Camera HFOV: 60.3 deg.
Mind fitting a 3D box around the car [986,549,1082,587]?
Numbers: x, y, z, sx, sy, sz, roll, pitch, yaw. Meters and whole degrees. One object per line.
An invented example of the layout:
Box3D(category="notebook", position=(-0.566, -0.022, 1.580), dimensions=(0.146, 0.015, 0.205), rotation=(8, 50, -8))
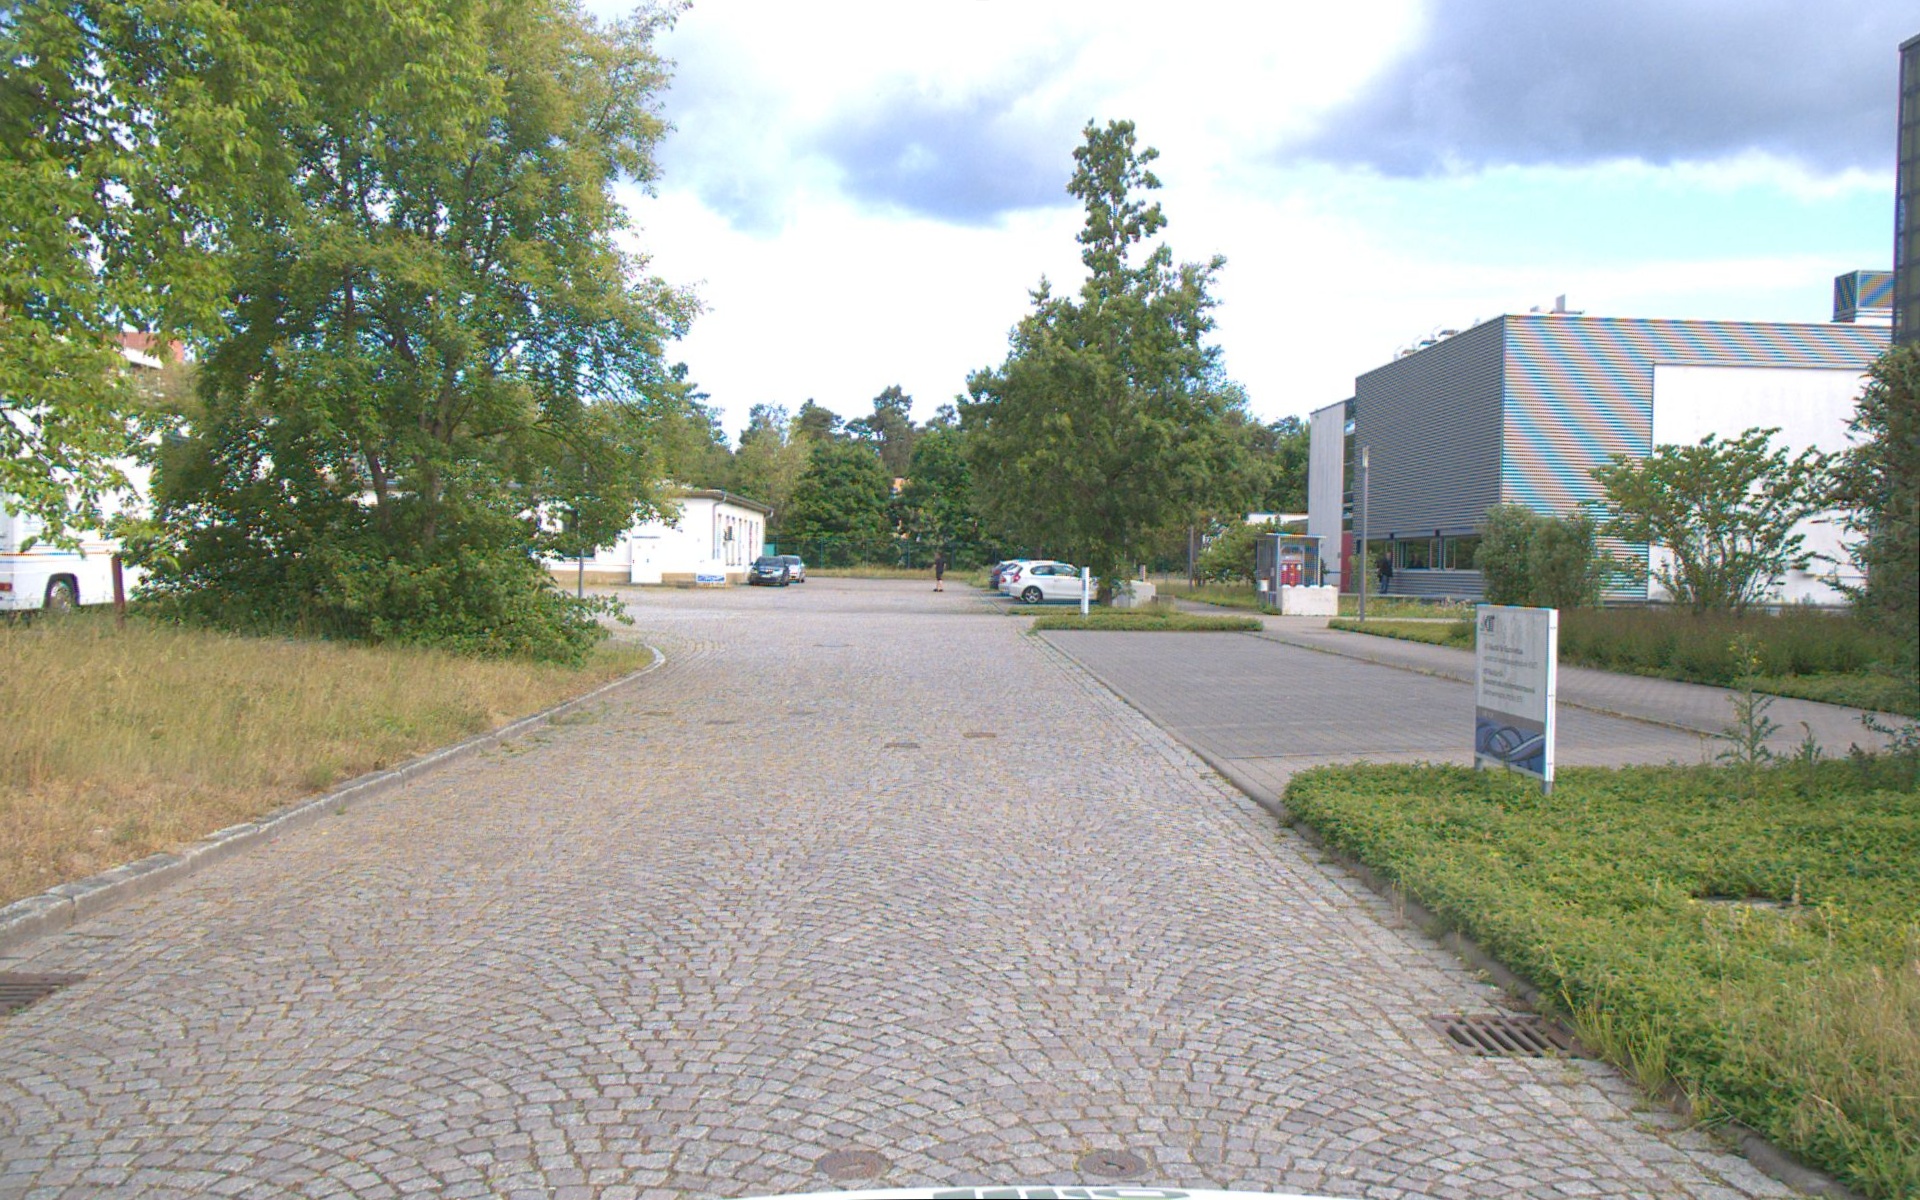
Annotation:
Box3D(category="car", position=(3.192, -1.396, 71.736), dimensions=(3.909, 1.560, 1.998), rotation=(1, 1, -5))

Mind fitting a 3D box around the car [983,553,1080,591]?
Box3D(category="car", position=(2.946, -1.164, 68.517), dimensions=(3.906, 1.480, 1.770), rotation=(1, 1, -1))

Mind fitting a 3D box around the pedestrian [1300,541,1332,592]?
Box3D(category="pedestrian", position=(14.499, -1.364, 67.342), dimensions=(0.903, 2.048, 1.145), rotation=(1, 1, -7))

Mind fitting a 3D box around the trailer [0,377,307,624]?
Box3D(category="trailer", position=(-15.603, -1.674, 30.602), dimensions=(2.602, 3.770, 10.724), rotation=(1, 1, 1))

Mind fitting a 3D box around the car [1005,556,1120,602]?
Box3D(category="car", position=(3.588, -0.749, 58.424), dimensions=(3.906, 1.481, 2.000), rotation=(1, 1, -1))

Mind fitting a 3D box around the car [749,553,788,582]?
Box3D(category="car", position=(-9.463, -1.637, 82.033), dimensions=(1.714, 1.387, 3.998), rotation=(1, 1, -4))

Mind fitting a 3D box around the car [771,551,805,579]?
Box3D(category="car", position=(-9.586, -1.971, 92.259), dimensions=(1.714, 1.479, 3.998), rotation=(1, 1, -4))

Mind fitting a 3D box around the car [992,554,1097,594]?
Box3D(category="car", position=(3.236, -1.018, 63.622), dimensions=(3.906, 1.480, 1.770), rotation=(1, 1, -1))

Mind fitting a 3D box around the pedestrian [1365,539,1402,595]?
Box3D(category="pedestrian", position=(15.116, -1.184, 59.081), dimensions=(0.908, 1.970, 0.846), rotation=(0, 1, -32))

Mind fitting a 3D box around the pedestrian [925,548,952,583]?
Box3D(category="pedestrian", position=(-0.996, -1.624, 77.298), dimensions=(0.928, 1.595, 0.964), rotation=(0, 1, -24))

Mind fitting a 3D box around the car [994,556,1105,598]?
Box3D(category="car", position=(3.250, -0.849, 60.584), dimensions=(3.906, 1.480, 1.697), rotation=(1, 1, -1))
